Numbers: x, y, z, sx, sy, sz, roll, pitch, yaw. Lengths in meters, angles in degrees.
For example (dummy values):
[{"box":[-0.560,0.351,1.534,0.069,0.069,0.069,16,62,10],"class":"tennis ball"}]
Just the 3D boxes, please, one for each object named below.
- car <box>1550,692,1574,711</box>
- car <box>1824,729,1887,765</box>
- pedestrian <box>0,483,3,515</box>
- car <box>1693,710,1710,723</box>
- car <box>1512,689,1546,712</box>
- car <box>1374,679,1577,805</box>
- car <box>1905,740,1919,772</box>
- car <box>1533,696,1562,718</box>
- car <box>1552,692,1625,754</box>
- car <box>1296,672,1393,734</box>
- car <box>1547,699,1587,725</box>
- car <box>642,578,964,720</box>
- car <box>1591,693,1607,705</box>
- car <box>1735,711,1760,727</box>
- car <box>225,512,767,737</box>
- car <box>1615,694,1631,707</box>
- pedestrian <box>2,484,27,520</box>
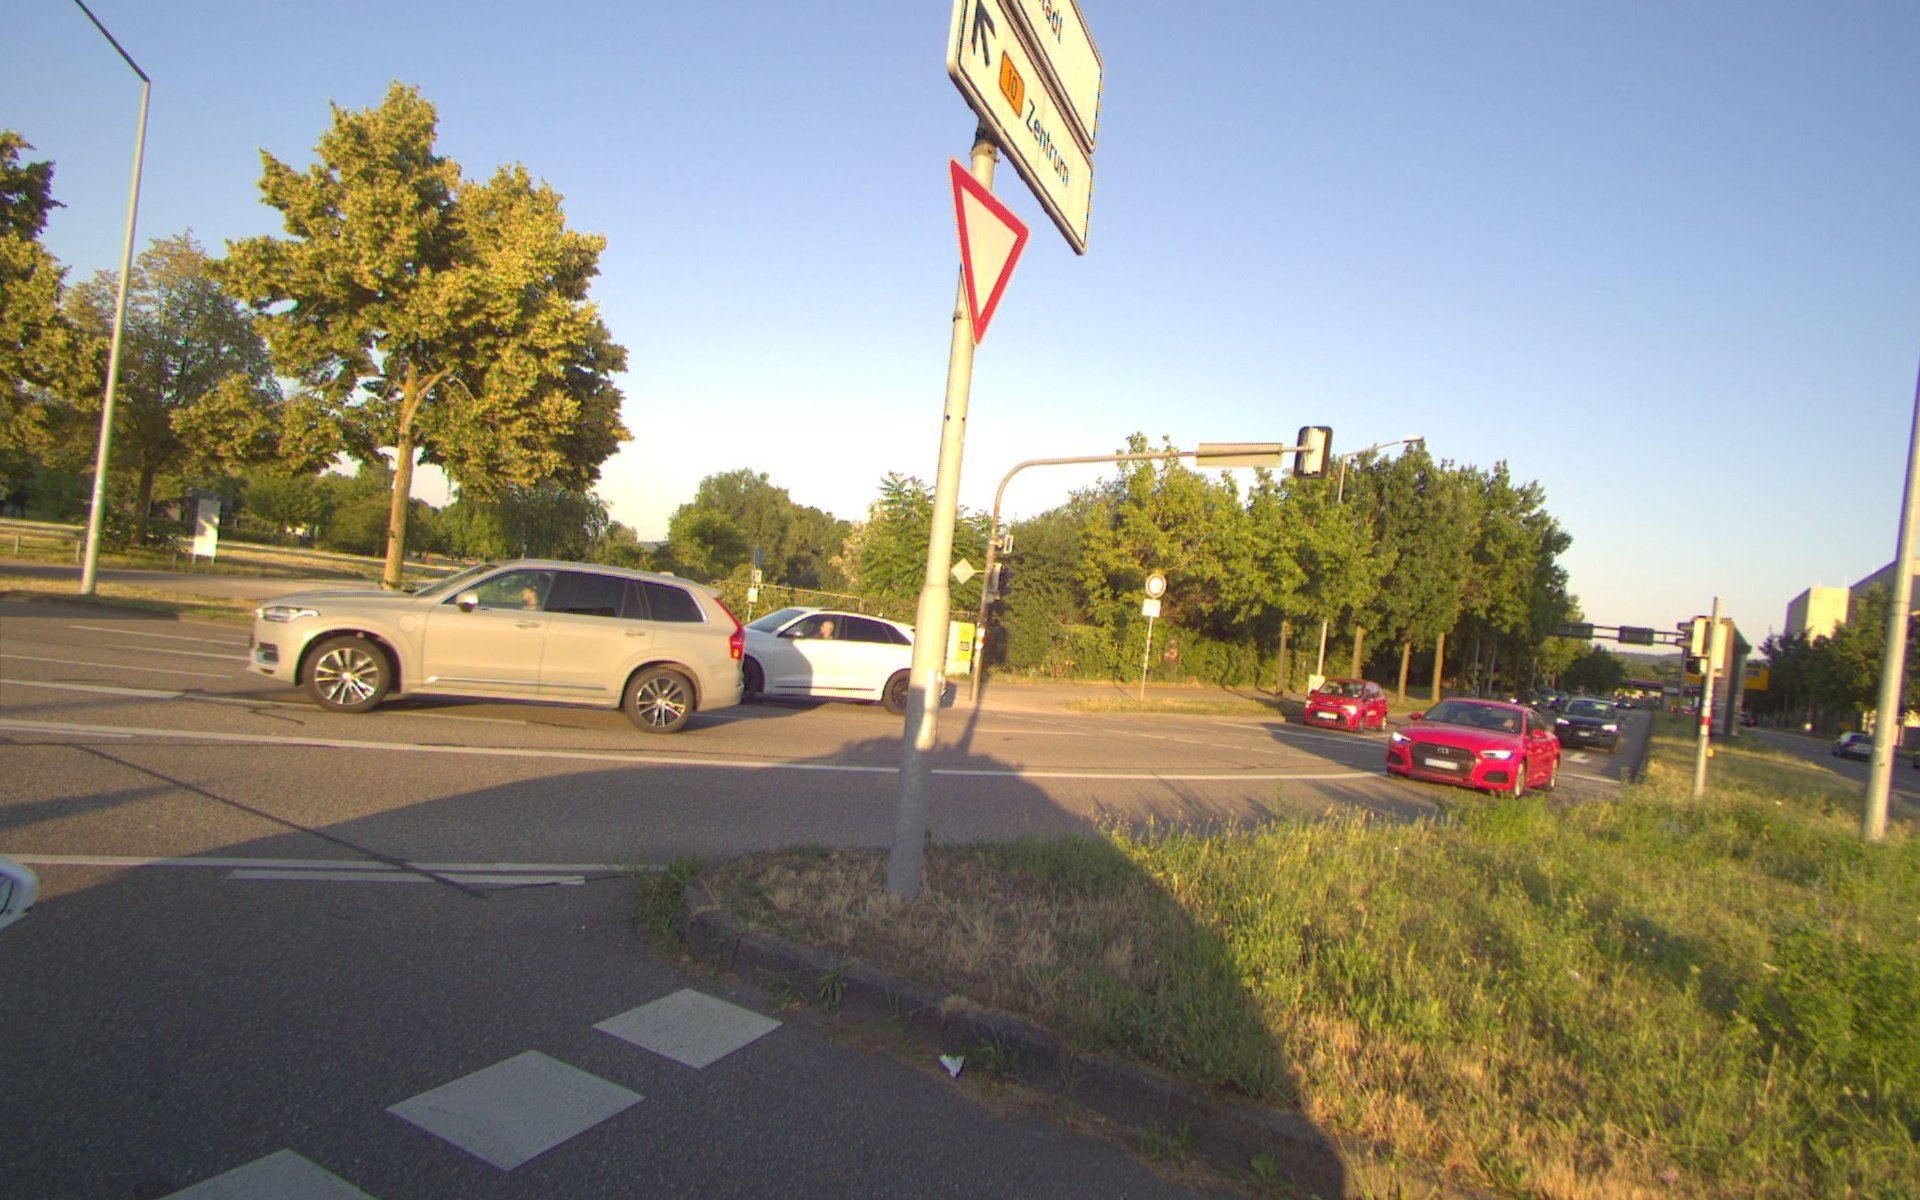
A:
[{"box":[56.794,9.554,94.867,1.594,1.536,3.706,5,-2,35],"class":"car"},{"box":[47.728,7.806,53.683,1.774,1.440,4.437,7,0,34],"class":"car"},{"box":[-46.365,-4.802,48.144,0.525,1.646,0.578,7,0,-20],"class":"pedestrian"},{"box":[111.189,17.464,150.872,1.789,1.543,4.123,7,0,34],"class":"car"},{"box":[39.311,6.964,69.489,1.594,1.324,3.707,5,-2,35],"class":"car"},{"box":[8.360,2.224,16.096,1.819,1.477,4.564,7,-1,40],"class":"car"},{"box":[49.380,8.041,50.714,1.774,1.482,3.989,7,0,34],"class":"car"},{"box":[47.521,8.661,81.350,1.594,1.536,3.706,5,-2,35],"class":"car"},{"box":[20.015,3.895,31.965,1.695,1.631,4.127,5,-2,34],"class":"car"},{"box":[11.174,2.983,29.114,1.700,1.500,3.624,5,-2,35],"class":"car"},{"box":[38.671,7.138,64.077,1.847,1.324,4.128,5,-2,35],"class":"car"},{"box":[-2.579,0.864,17.021,4.893,1.730,1.897,9,-1,-32],"class":"car"},{"box":[89.445,13.870,140.786,1.594,1.471,3.706,5,-2,35],"class":"car"},{"box":[84.625,12.816,108.071,1.727,1.441,4.114,7,0,42],"class":"car"},{"box":[-4.833,0.361,11.037,4.868,1.775,1.909,8,-2,-30],"class":"car"},{"box":[87.733,13.355,133.041,1.594,1.471,3.706,5,-2,35],"class":"car"},{"box":[-45.809,-4.747,48.733,0.523,1.646,0.617,7,0,-19],"class":"pedestrian"}]
